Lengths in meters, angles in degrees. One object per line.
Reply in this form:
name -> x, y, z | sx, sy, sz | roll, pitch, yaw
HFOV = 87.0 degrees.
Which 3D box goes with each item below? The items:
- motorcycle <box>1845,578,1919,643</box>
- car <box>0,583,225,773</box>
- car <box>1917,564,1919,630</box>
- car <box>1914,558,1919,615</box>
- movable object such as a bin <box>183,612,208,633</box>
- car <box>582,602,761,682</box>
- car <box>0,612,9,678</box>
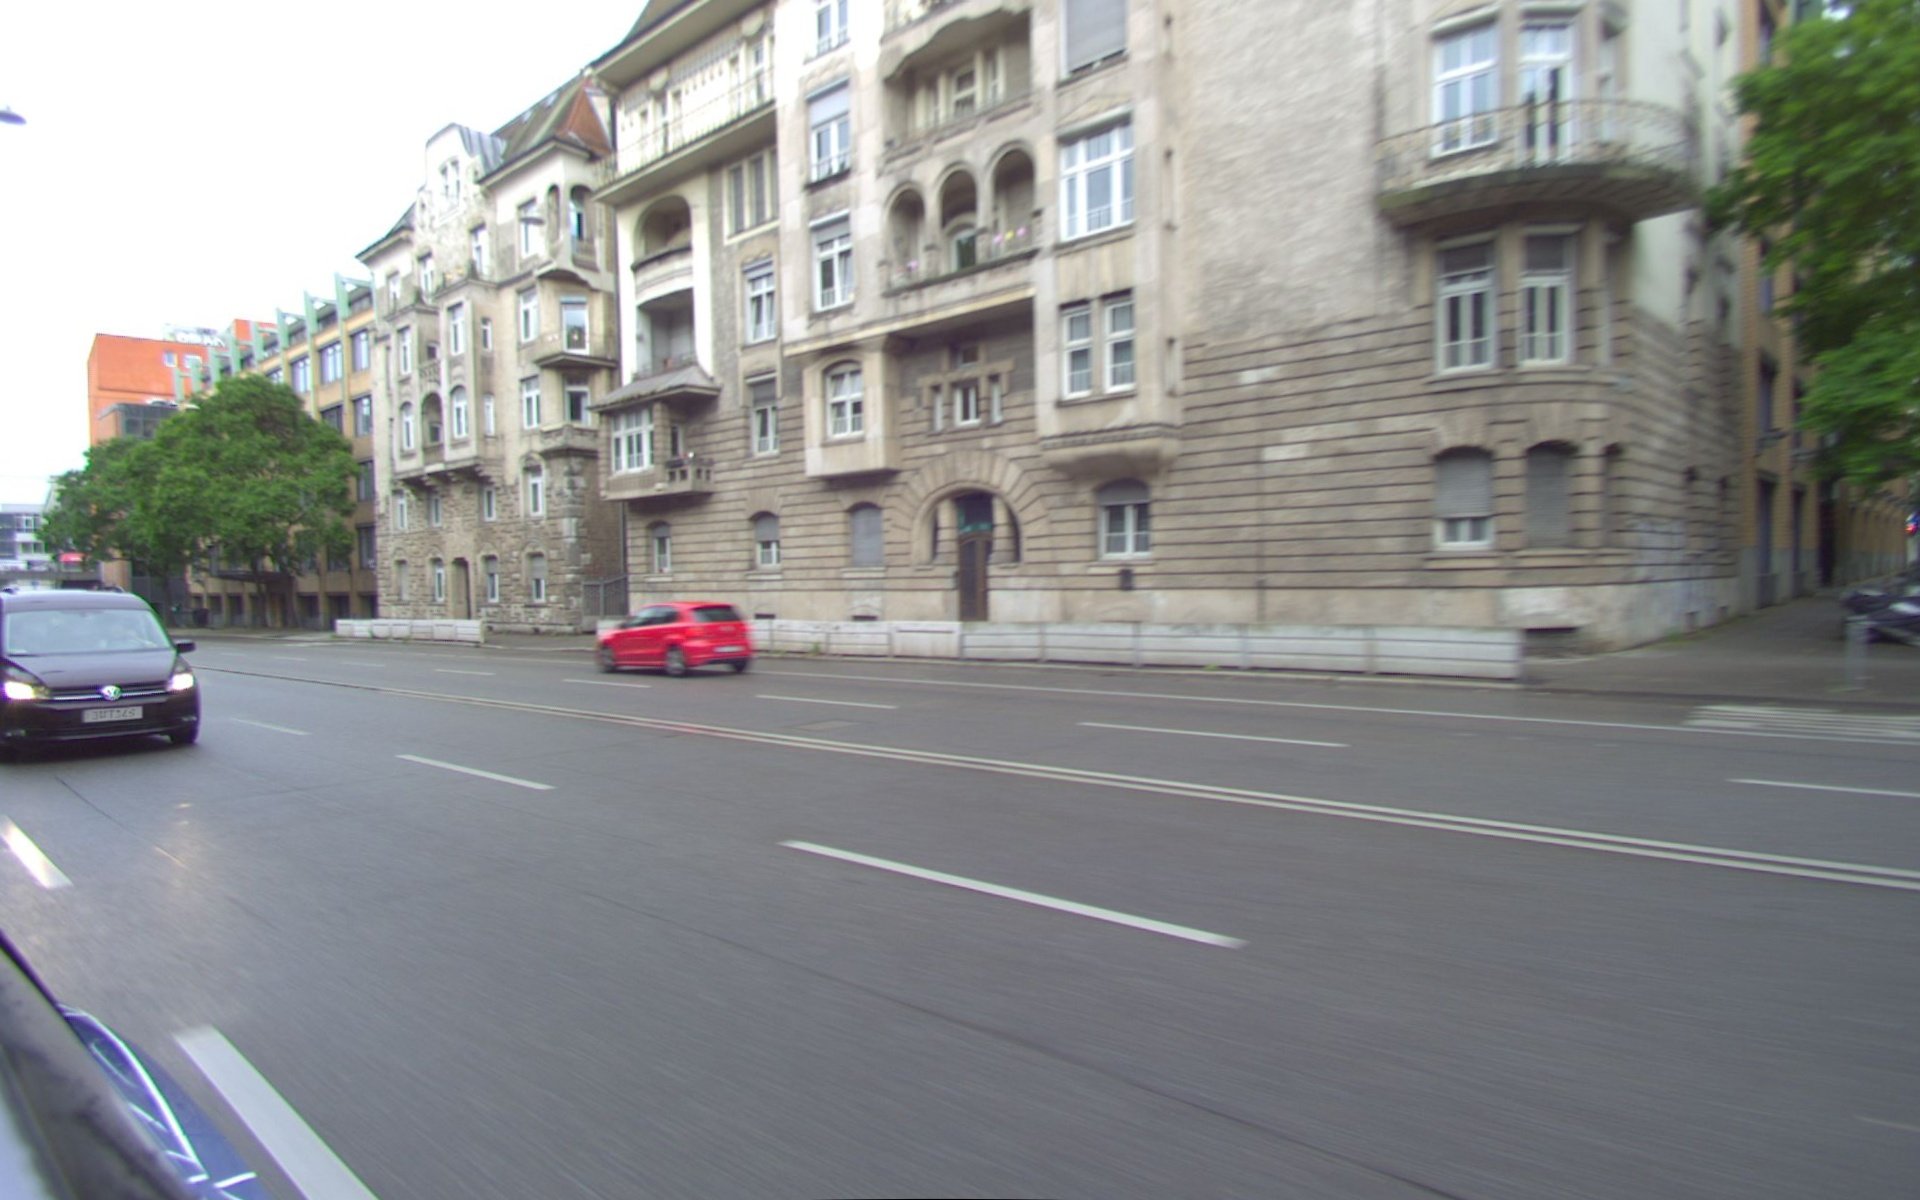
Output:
motorcycle -> 17.393, 0.173, 18.052 | 2.393, 1.150, 0.498 | -1, 1, 43
car -> -10.165, 0.782, 11.578 | 3.995, 1.804, 1.820 | -2, -1, 38
car -> 21.961, -0.145, 21.860 | 3.941, 1.371, 1.696 | -3, 1, -44
car -> 25.730, -0.407, 25.926 | 3.941, 1.371, 1.696 | -3, 1, -44
movable object such as a bin -> -55.256, 1.650, 73.150 | 1.369, 1.446, 1.059 | -2, 2, 35
car -> -5.889, 0.801, 20.446 | 3.959, 1.424, 1.564 | -1, 0, 41
car -> -25.536, 1.162, 25.499 | 3.996, 1.625, 1.710 | -1, 2, 39
